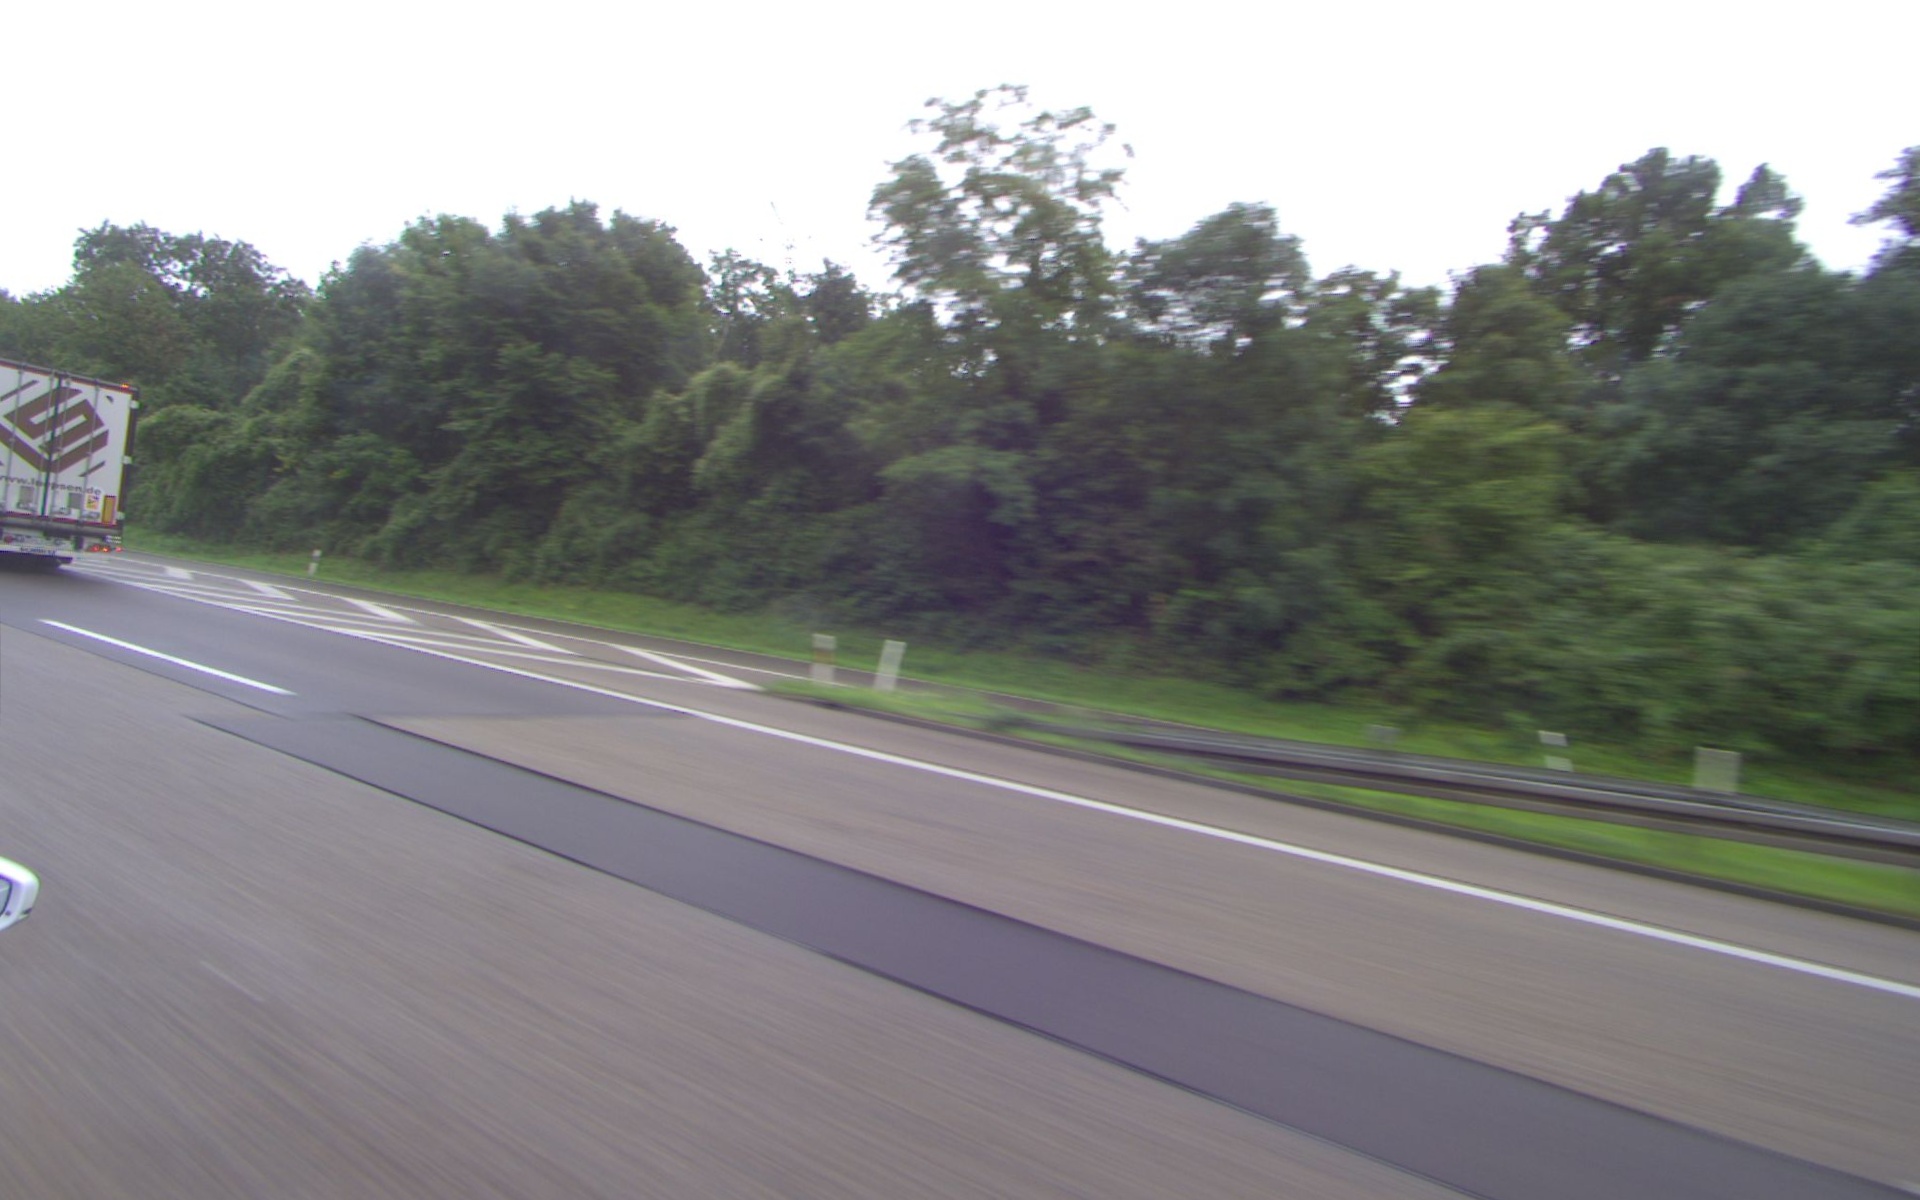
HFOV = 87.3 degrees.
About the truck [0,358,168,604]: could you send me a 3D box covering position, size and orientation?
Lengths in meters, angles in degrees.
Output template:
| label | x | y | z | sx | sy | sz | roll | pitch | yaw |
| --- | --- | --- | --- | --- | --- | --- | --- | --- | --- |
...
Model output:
| label | x | y | z | sx | sy | sz | roll | pitch | yaw |
| --- | --- | --- | --- | --- | --- | --- | --- | --- | --- |
| truck | -22.956 | -2.788 | 22.923 | 12.988 | 4.385 | 3.606 | 6 | 0 | 34 |
